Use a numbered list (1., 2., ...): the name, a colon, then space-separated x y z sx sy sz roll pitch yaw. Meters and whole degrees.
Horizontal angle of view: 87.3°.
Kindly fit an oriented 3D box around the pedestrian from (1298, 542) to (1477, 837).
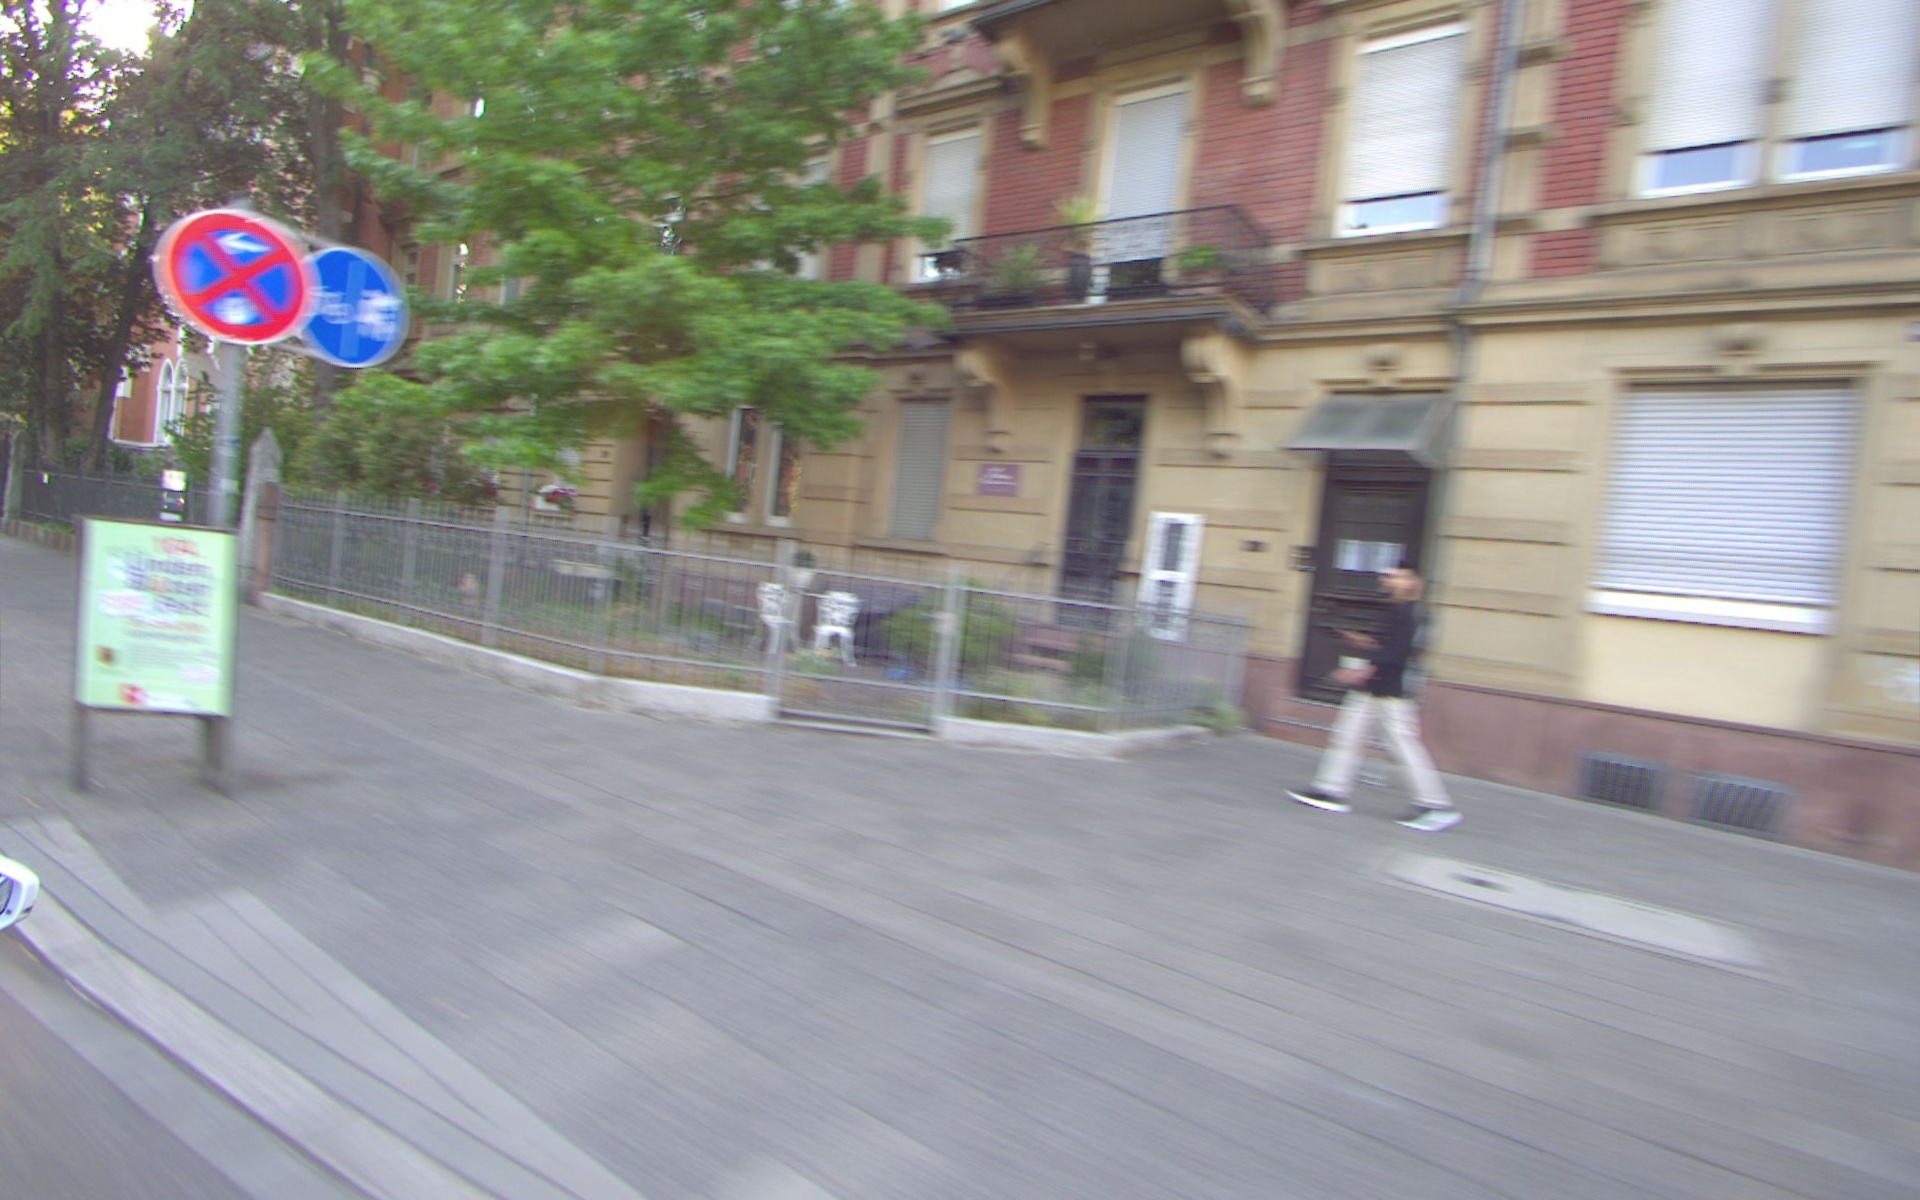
1. pedestrian: 2.895 0.557 6.806 0.818 1.804 0.745 8 5 32
